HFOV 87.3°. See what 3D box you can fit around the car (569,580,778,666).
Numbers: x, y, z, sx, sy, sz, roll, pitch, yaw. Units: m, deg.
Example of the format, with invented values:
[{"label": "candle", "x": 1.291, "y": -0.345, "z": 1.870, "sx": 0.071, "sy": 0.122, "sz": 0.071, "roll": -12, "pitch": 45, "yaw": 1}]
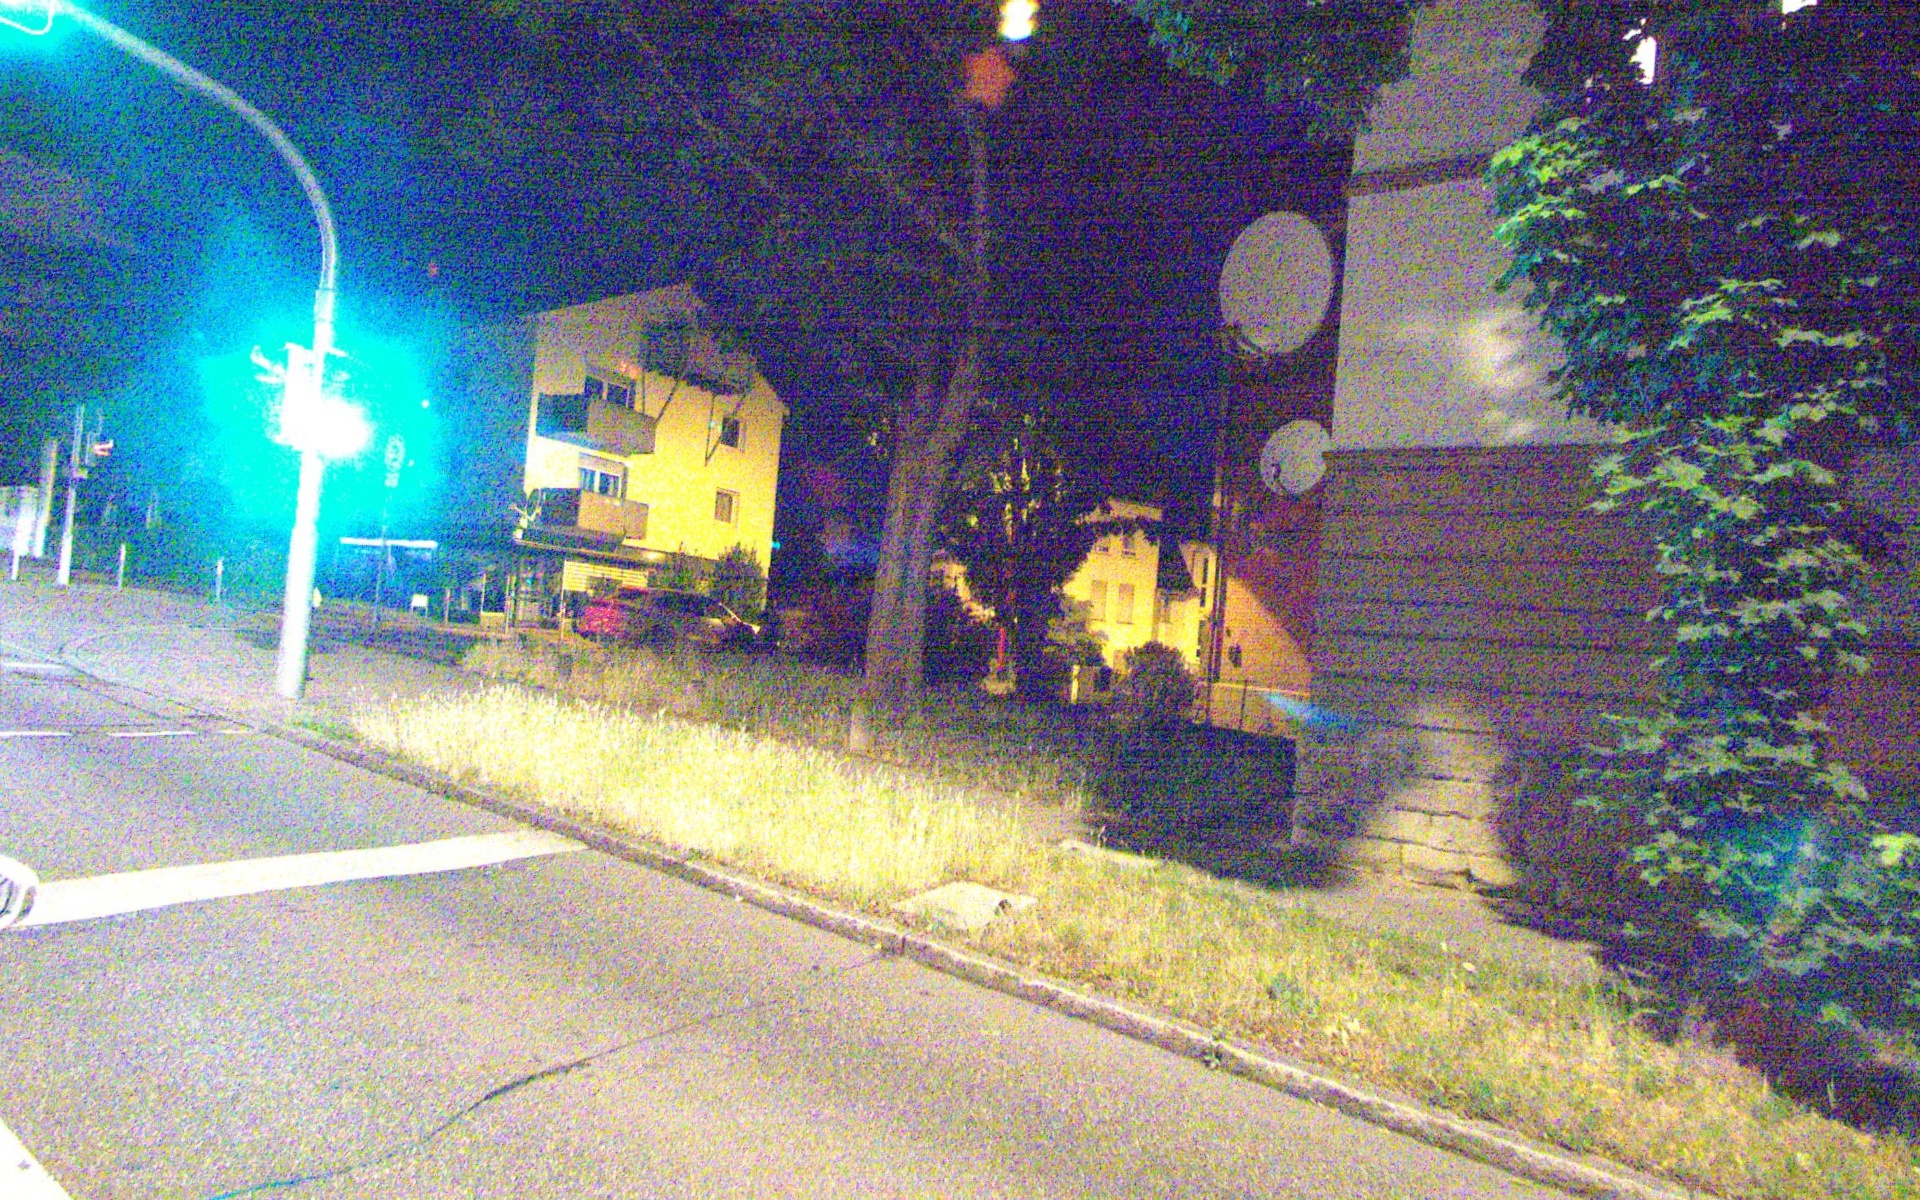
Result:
[{"label": "car", "x": -6.506, "y": 0.586, "z": 23.295, "sx": 1.778, "sy": 1.577, "sz": 4.366, "roll": 3, "pitch": -3, "yaw": 38}]
